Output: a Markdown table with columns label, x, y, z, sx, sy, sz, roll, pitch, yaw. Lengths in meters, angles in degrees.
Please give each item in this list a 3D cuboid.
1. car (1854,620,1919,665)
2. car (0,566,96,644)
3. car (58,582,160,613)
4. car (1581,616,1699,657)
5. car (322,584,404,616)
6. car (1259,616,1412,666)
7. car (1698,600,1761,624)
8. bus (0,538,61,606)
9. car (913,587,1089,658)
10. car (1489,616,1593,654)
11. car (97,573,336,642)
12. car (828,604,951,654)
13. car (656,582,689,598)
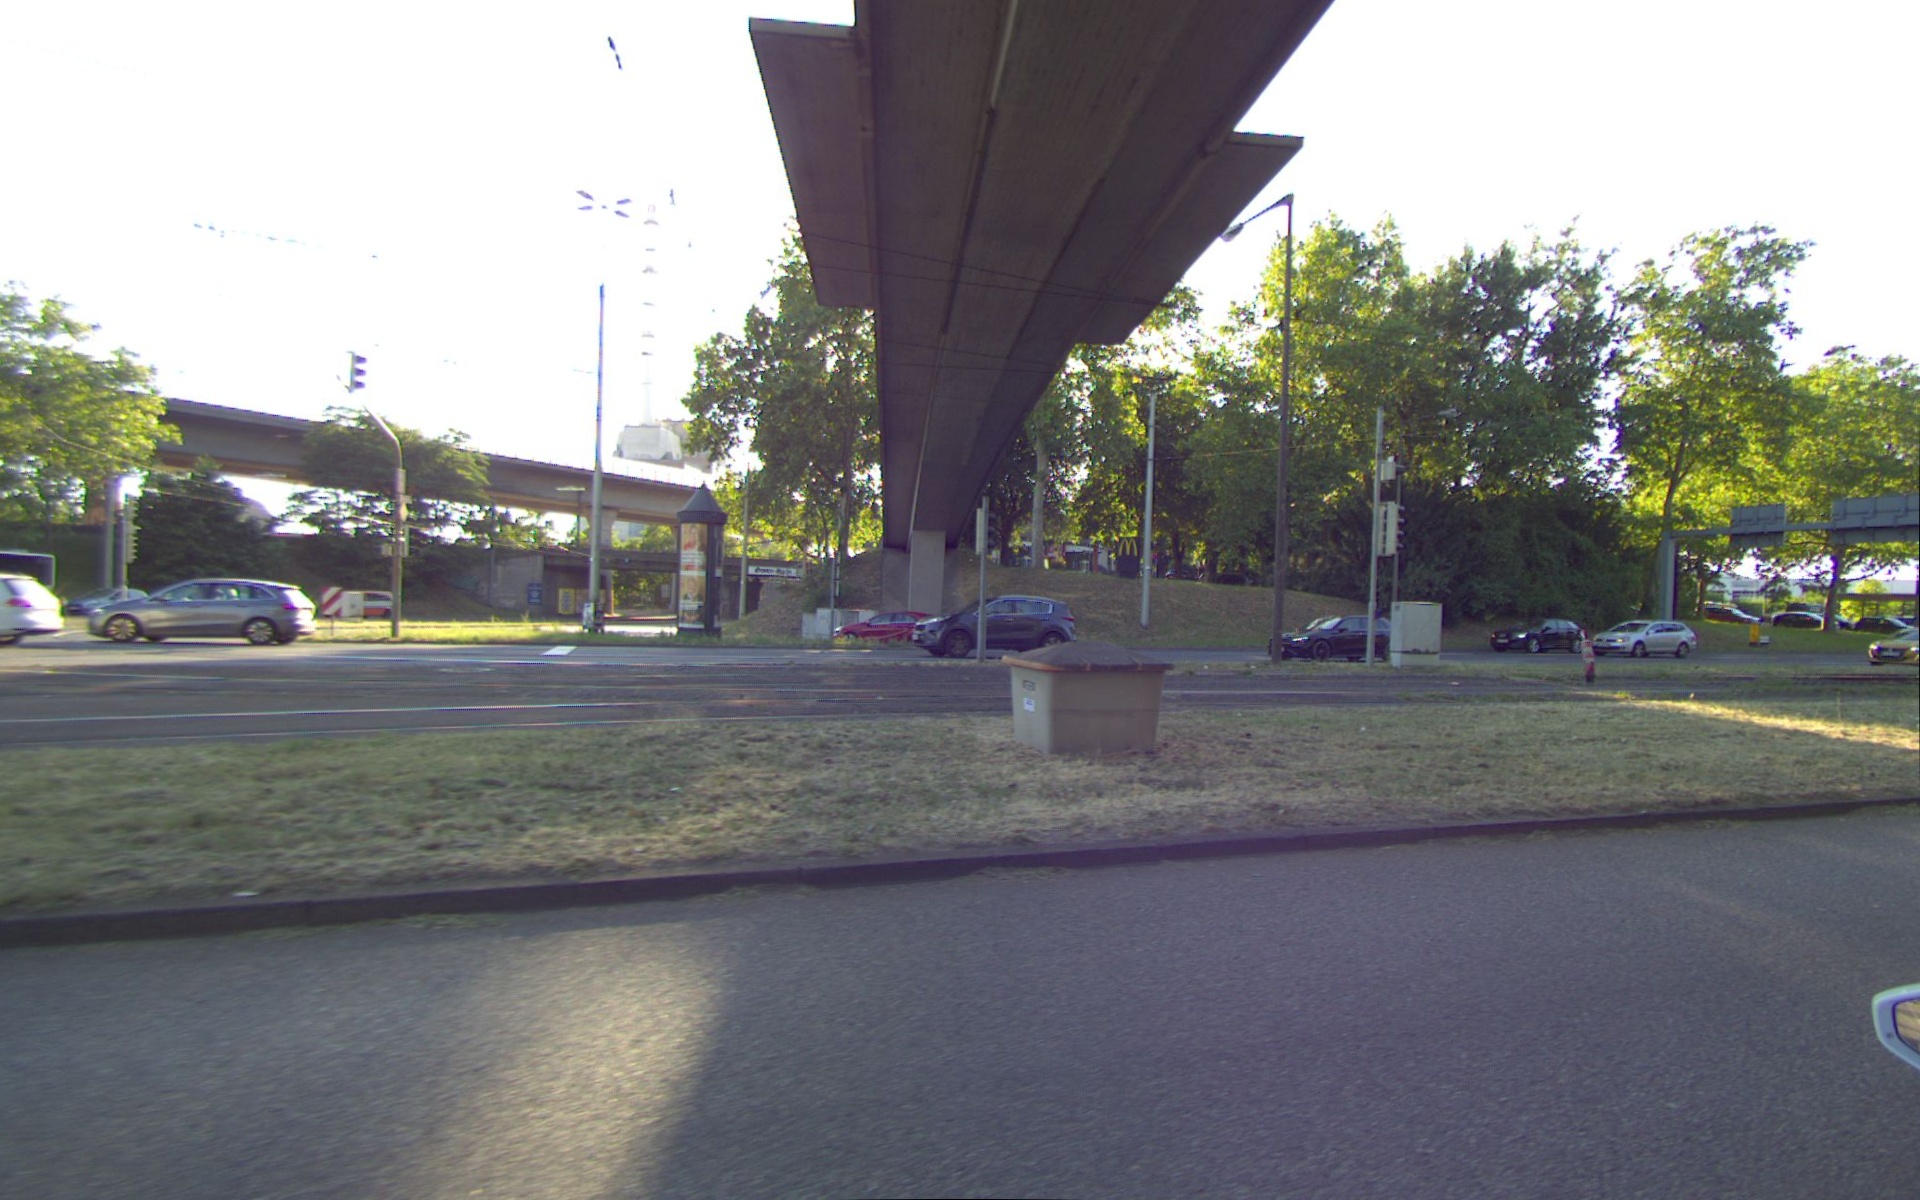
| label | x | y | z | sx | sy | sz | roll | pitch | yaw |
| --- | --- | --- | --- | --- | --- | --- | --- | --- | --- |
| car | 33.729 | 1.508 | 35.214 | 3.957 | 1.435 | 1.836 | 2 | 0 | -19 |
| car | -20.206 | 0.012 | 19.457 | 4.786 | 1.463 | 2.003 | 2 | 0 | -20 |
| car | -43.722 | -0.088 | 51.721 | 1.671 | 1.461 | 4.001 | 3 | 0 | 2 |
| car | 27.444 | 1.473 | 40.531 | 4.371 | 1.435 | 1.684 | 2 | 1 | -20 |
| car | -41.157 | 0.033 | 69.438 | 1.960 | 2.040 | 5.428 | 2 | 0 | 6 |
| car | 11.404 | 1.251 | 30.515 | 4.242 | 1.327 | 1.684 | 2 | 0 | -19 |
| car | 68.844 | 1.061 | 89.936 | 1.968 | 1.885 | 3.985 | 2 | 1 | -17 |
| bus | -44.186 | -1.355 | 41.008 | 2.775 | 2.993 | 12.857 | 3 | 0 | 3 |
| car | 1.080 | 0.599 | 26.706 | 4.290 | 1.673 | 1.788 | 2 | 0 | -20 |
| car | 25.008 | 1.500 | 43.251 | 4.132 | 1.435 | 1.683 | 2 | 1 | -22 |
| car | -17.804 | 0.179 | 24.331 | 4.188 | 1.463 | 2.003 | 2 | 0 | -20 |
| car | -2.642 | 1.074 | 38.093 | 4.268 | 1.672 | 1.797 | 2 | 0 | 11 |
| car | -39.016 | -1.345 | 136.477 | 1.966 | 1.794 | 3.990 | 3 | -1 | 33 |
